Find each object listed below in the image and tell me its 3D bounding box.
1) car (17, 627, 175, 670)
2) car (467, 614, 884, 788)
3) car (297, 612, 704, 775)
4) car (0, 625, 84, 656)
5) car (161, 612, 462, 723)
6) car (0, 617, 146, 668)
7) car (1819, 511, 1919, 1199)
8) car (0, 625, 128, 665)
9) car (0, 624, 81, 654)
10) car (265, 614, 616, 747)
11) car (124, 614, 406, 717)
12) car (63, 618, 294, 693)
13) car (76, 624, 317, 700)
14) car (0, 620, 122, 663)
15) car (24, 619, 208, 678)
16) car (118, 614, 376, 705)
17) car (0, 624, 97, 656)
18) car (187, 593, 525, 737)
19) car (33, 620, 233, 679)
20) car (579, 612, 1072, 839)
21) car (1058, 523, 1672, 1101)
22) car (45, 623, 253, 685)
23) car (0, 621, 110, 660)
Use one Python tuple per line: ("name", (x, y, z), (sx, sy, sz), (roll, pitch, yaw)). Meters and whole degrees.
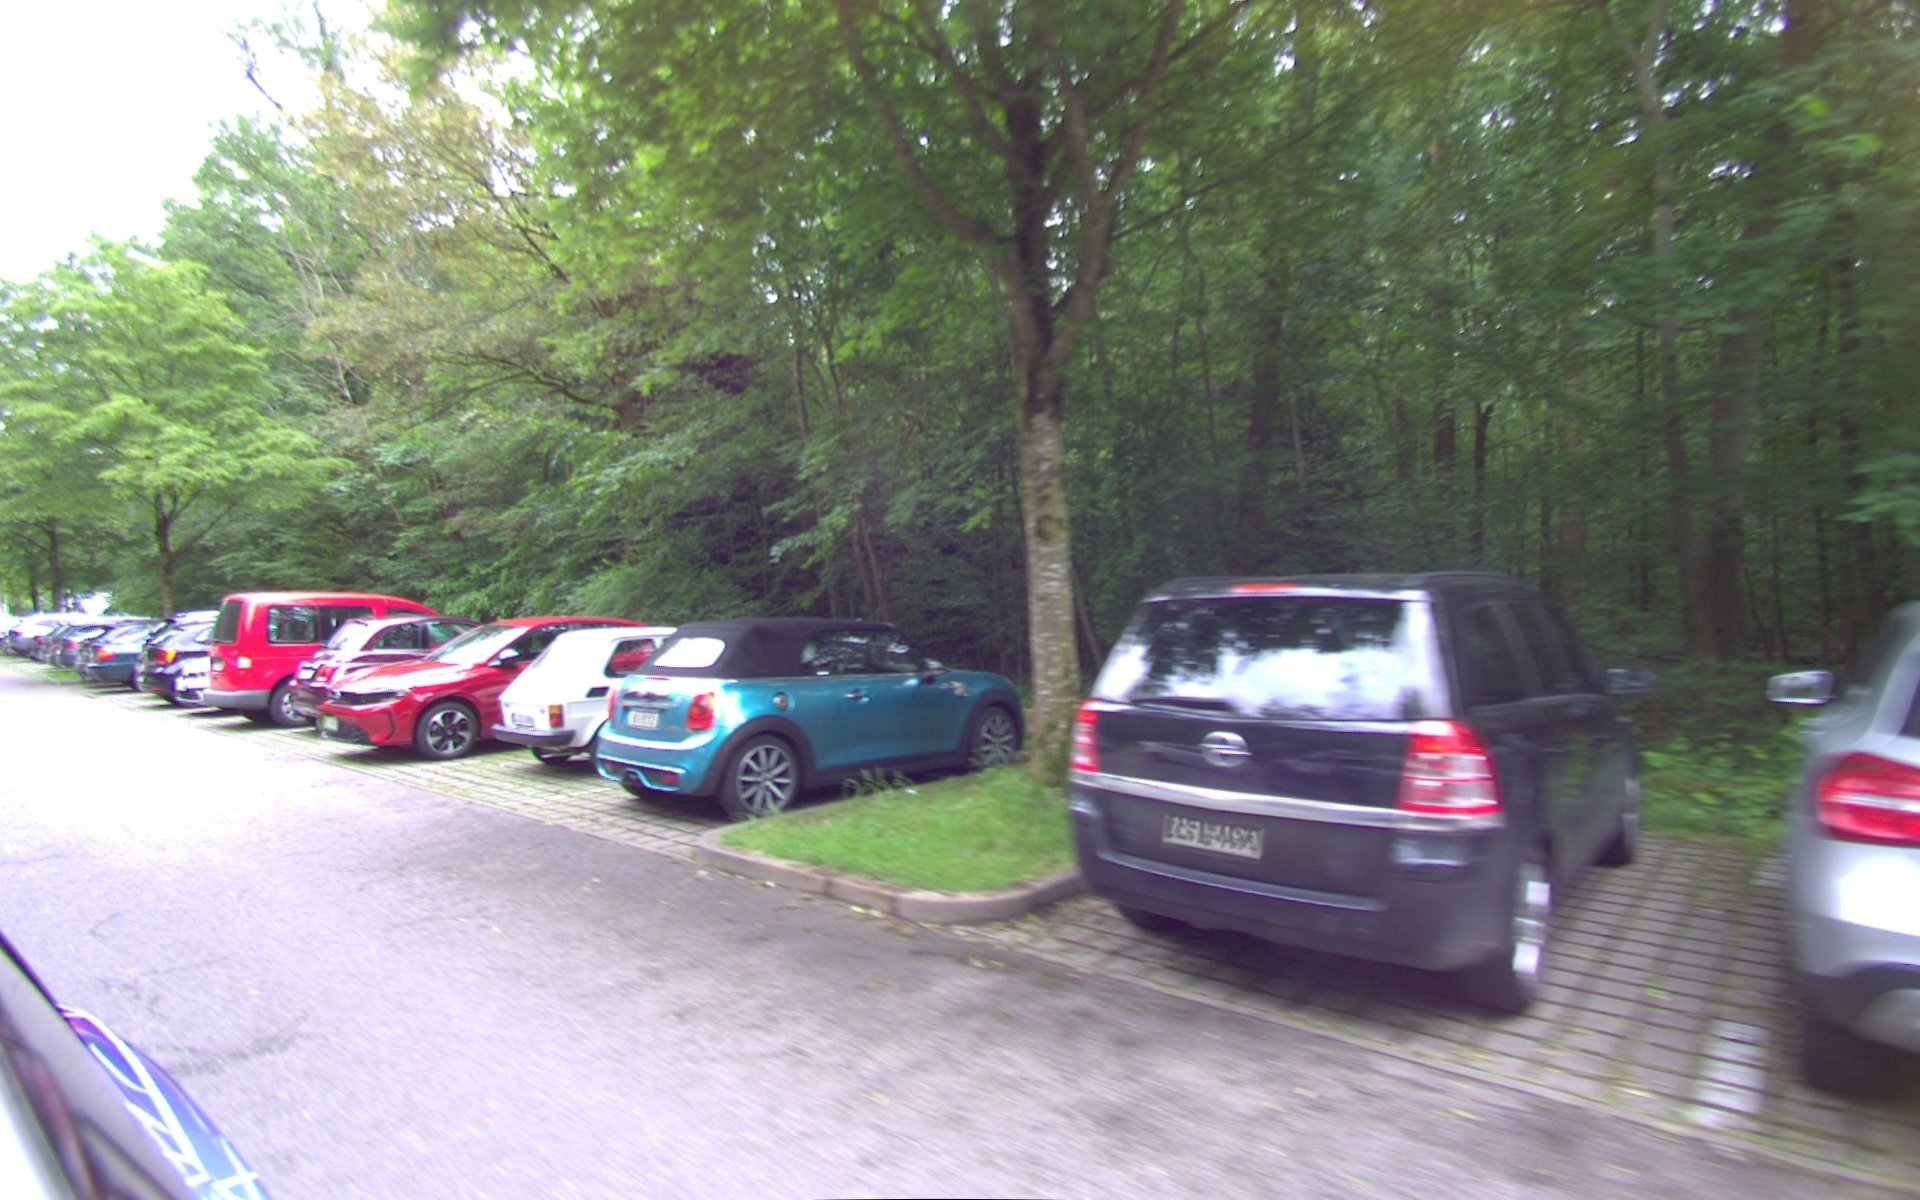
("car", (-30.441, 1.665, 35.752), (1.710, 1.381, 3.951), (-1, -2, 36))
("car", (-2.833, 0.901, 10.736), (1.770, 1.459, 3.945), (-2, -1, 41))
("car", (-5.155, 0.927, 11.747), (1.770, 1.527, 3.945), (-2, -1, 41))
("car", (-47.004, 2.027, 51.070), (1.711, 1.489, 3.948), (-1, -2, 38))
("car", (-10.681, 1.019, 16.862), (1.742, 1.609, 3.943), (-2, -1, 43))
("car", (-32.625, 1.518, 37.187), (1.711, 1.740, 3.949), (-1, -2, 38))
("car", (4.149, 0.632, 3.389), (1.814, 1.675, 3.944), (-2, -2, 42))
("car", (-36.178, 1.756, 40.664), (1.711, 1.500, 3.949), (-1, -2, 38))
("car", (-48.338, 2.016, 52.462), (1.711, 1.489, 3.948), (-1, -2, 38))
("car", (-7.022, 0.989, 13.982), (1.817, 1.527, 3.945), (-2, -1, 41))
("car", (-12.443, 1.089, 18.284), (1.742, 1.609, 3.943), (-2, -1, 43))
("car", (-17.991, 1.212, 23.445), (1.739, 1.453, 3.948), (-1, 0, 39))
("car", (-16.337, 1.261, 21.793), (1.742, 1.432, 3.942), (-2, -1, 44))
("car", (-38.012, 1.695, 42.623), (1.711, 1.722, 3.949), (-1, -2, 38))
("car", (-25.225, 1.408, 30.360), (1.710, 1.528, 3.951), (-1, 0, 36))
("car", (-14.194, 1.113, 20.320), (1.740, 1.609, 3.946), (-2, -1, 41))
("car", (-45.167, 1.923, 49.715), (1.711, 1.489, 3.948), (-1, -2, 38))
("car", (-8.790, 0.855, 14.975), (1.817, 1.828, 3.945), (-2, -1, 41))
("car", (-23.401, 1.349, 28.749), (1.817, 1.549, 4.167), (-2, -2, 41))
("car", (-0.937, 0.847, 8.550), (1.696, 1.459, 3.942), (-2, -2, 44))
("car", (2.300, 0.651, 5.021), (1.694, 1.675, 3.947), (-2, -2, 40))
("car", (-21.545, 1.385, 26.992), (4.163, 1.467, 1.819), (0, -1, -45))
("car", (-41.497, 1.803, 46.112), (1.711, 1.684, 3.949), (-1, -2, 38))
